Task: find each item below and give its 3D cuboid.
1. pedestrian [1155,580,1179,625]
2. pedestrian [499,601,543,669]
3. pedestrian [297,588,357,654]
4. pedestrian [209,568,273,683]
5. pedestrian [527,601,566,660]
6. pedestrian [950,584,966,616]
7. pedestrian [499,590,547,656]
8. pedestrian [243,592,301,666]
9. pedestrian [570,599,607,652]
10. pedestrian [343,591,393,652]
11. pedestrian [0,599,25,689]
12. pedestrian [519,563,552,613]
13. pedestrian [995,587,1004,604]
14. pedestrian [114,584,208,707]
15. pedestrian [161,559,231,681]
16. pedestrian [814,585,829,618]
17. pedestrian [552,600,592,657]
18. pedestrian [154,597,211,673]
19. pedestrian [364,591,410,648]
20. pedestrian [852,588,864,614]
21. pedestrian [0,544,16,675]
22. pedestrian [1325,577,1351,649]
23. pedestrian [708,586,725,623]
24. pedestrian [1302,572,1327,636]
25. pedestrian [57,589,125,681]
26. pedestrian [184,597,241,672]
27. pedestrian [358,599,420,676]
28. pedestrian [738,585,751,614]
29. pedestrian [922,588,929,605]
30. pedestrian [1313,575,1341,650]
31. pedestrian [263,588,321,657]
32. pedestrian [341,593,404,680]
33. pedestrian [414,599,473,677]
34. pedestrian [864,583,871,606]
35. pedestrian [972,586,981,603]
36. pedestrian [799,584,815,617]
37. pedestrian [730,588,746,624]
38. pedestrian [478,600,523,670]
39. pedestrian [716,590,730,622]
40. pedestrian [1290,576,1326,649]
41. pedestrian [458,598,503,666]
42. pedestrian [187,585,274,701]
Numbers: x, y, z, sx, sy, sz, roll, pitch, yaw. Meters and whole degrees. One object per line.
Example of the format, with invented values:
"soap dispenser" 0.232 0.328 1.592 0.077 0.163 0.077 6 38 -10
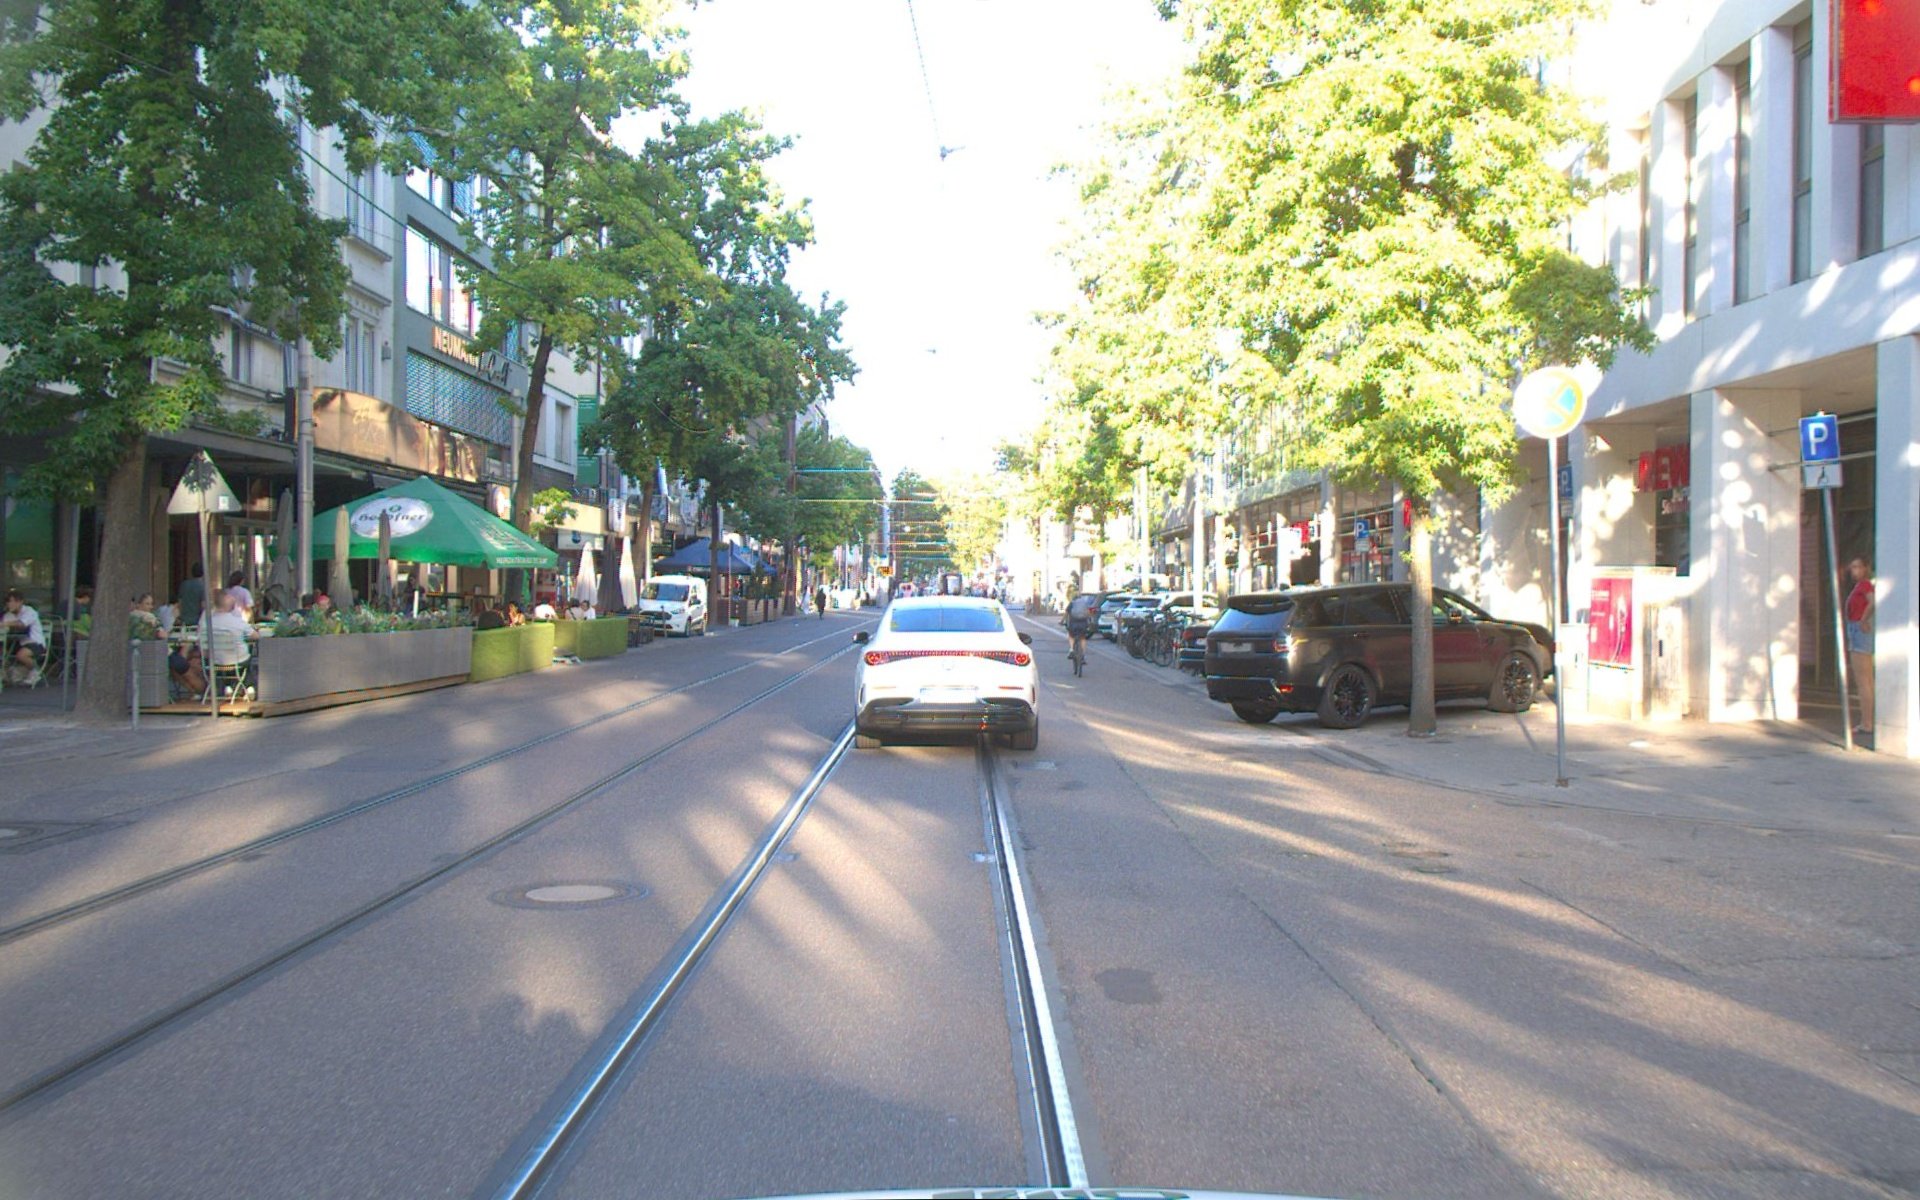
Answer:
"pedestrian" 8.225 0.112 65.748 0.677 1.761 0.629 -2 0 42
"pedestrian" -8.526 0.676 32.125 0.606 1.266 0.697 3 0 -1
"pedestrian" -12.667 0.412 33.116 0.761 1.258 0.945 3 0 -1
"pedestrian" -10.896 0.378 25.079 0.606 1.699 0.697 2 0 -1
"pedestrian" -9.586 0.700 38.371 0.643 1.315 0.798 3 0 -1
"pedestrian" -0.118 0.018 95.934 0.824 1.832 0.790 2 0 1
"pedestrian" -9.400 0.490 35.598 0.739 1.367 0.872 3 0 -1
"pedestrian" -12.198 0.504 29.348 0.656 1.264 0.799 2 0 -1
"pedestrian" -8.828 0.599 39.367 0.643 1.214 0.798 3 0 -1
"pedestrian" -12.578 0.458 35.141 0.721 1.235 0.788 3 0 -1
"pedestrian" -13.000 0.575 22.146 0.541 1.182 0.687 2 0 0
"pedestrian" -13.246 -0.374 51.636 0.754 1.492 0.765 3 0 -3
"pedestrian" 4.153 -0.459 173.664 0.941 1.816 0.803 -1 0 -1
"pedestrian" -9.516 0.530 19.726 0.675 1.410 0.807 2 0 1
"pedestrian" -11.502 0.297 24.917 0.664 1.787 0.697 2 0 1
"pedestrian" -6.760 0.075 80.853 0.609 1.577 0.852 2 0 0
"pedestrian" -8.993 0.658 38.349 0.643 1.266 0.872 3 0 -1
"pedestrian" -12.394 0.554 26.377 0.541 1.182 0.687 2 0 0
"pedestrian" -12.597 0.422 36.386 0.686 1.188 0.788 3 0 -1
"pedestrian" -7.245 0.040 117.656 0.771 1.832 0.844 0 0 1
"pedestrian" -13.725 0.119 22.987 0.670 1.823 0.760 2 0 15
"pedestrian" 9.078 0.307 39.739 0.506 1.726 0.550 0 0 4
"pedestrian" -9.660 0.167 65.594 0.538 1.454 0.582 1 0 -1
"pedestrian" 10.024 0.114 46.771 0.545 1.781 0.525 -2 0 0
"pedestrian" -12.756 0.505 24.286 0.590 1.321 0.687 2 0 0
"pedestrian" -12.356 0.561 27.354 0.589 1.194 0.687 2 0 0
"pedestrian" -9.801 0.631 28.396 0.693 1.281 0.869 2 0 2
"pedestrian" -11.657 -0.036 89.446 0.585 1.559 0.671 2 0 0
"pedestrian" -3.850 -0.382 184.091 0.784 1.813 0.849 2 0 -1
"pedestrian" 8.817 0.300 39.738 0.512 1.781 0.559 -2 0 2
"pedestrian" -12.822 0.425 31.766 0.721 1.253 0.788 3 0 -1
"pedestrian" -9.606 0.584 27.055 0.693 1.371 0.781 2 0 2
"pedestrian" -8.815 0.645 28.257 0.693 1.281 0.772 2 0 2
"pedestrian" -7.861 -0.447 140.811 0.527 1.962 0.573 0 0 3
"pedestrian" 1.802 -0.636 178.547 0.941 1.816 0.803 -1 0 -1
"pedestrian" -7.399 0.029 79.979 0.609 1.535 0.833 2 0 0
"pedestrian" -8.781 0.237 65.549 0.538 1.380 0.582 1 0 -1
"pedestrian" -8.667 0.654 31.218 0.606 1.266 0.697 3 0 -1
"pedestrian" -9.595 0.245 66.907 0.484 1.249 0.535 1 0 -1
"pedestrian" 8.288 0.299 39.355 0.667 1.726 0.548 0 0 -13
"pedestrian" -9.335 0.616 32.198 0.606 1.266 0.697 3 0 -1
"pedestrian" -9.149 0.526 20.769 0.675 1.410 0.807 2 0 1
